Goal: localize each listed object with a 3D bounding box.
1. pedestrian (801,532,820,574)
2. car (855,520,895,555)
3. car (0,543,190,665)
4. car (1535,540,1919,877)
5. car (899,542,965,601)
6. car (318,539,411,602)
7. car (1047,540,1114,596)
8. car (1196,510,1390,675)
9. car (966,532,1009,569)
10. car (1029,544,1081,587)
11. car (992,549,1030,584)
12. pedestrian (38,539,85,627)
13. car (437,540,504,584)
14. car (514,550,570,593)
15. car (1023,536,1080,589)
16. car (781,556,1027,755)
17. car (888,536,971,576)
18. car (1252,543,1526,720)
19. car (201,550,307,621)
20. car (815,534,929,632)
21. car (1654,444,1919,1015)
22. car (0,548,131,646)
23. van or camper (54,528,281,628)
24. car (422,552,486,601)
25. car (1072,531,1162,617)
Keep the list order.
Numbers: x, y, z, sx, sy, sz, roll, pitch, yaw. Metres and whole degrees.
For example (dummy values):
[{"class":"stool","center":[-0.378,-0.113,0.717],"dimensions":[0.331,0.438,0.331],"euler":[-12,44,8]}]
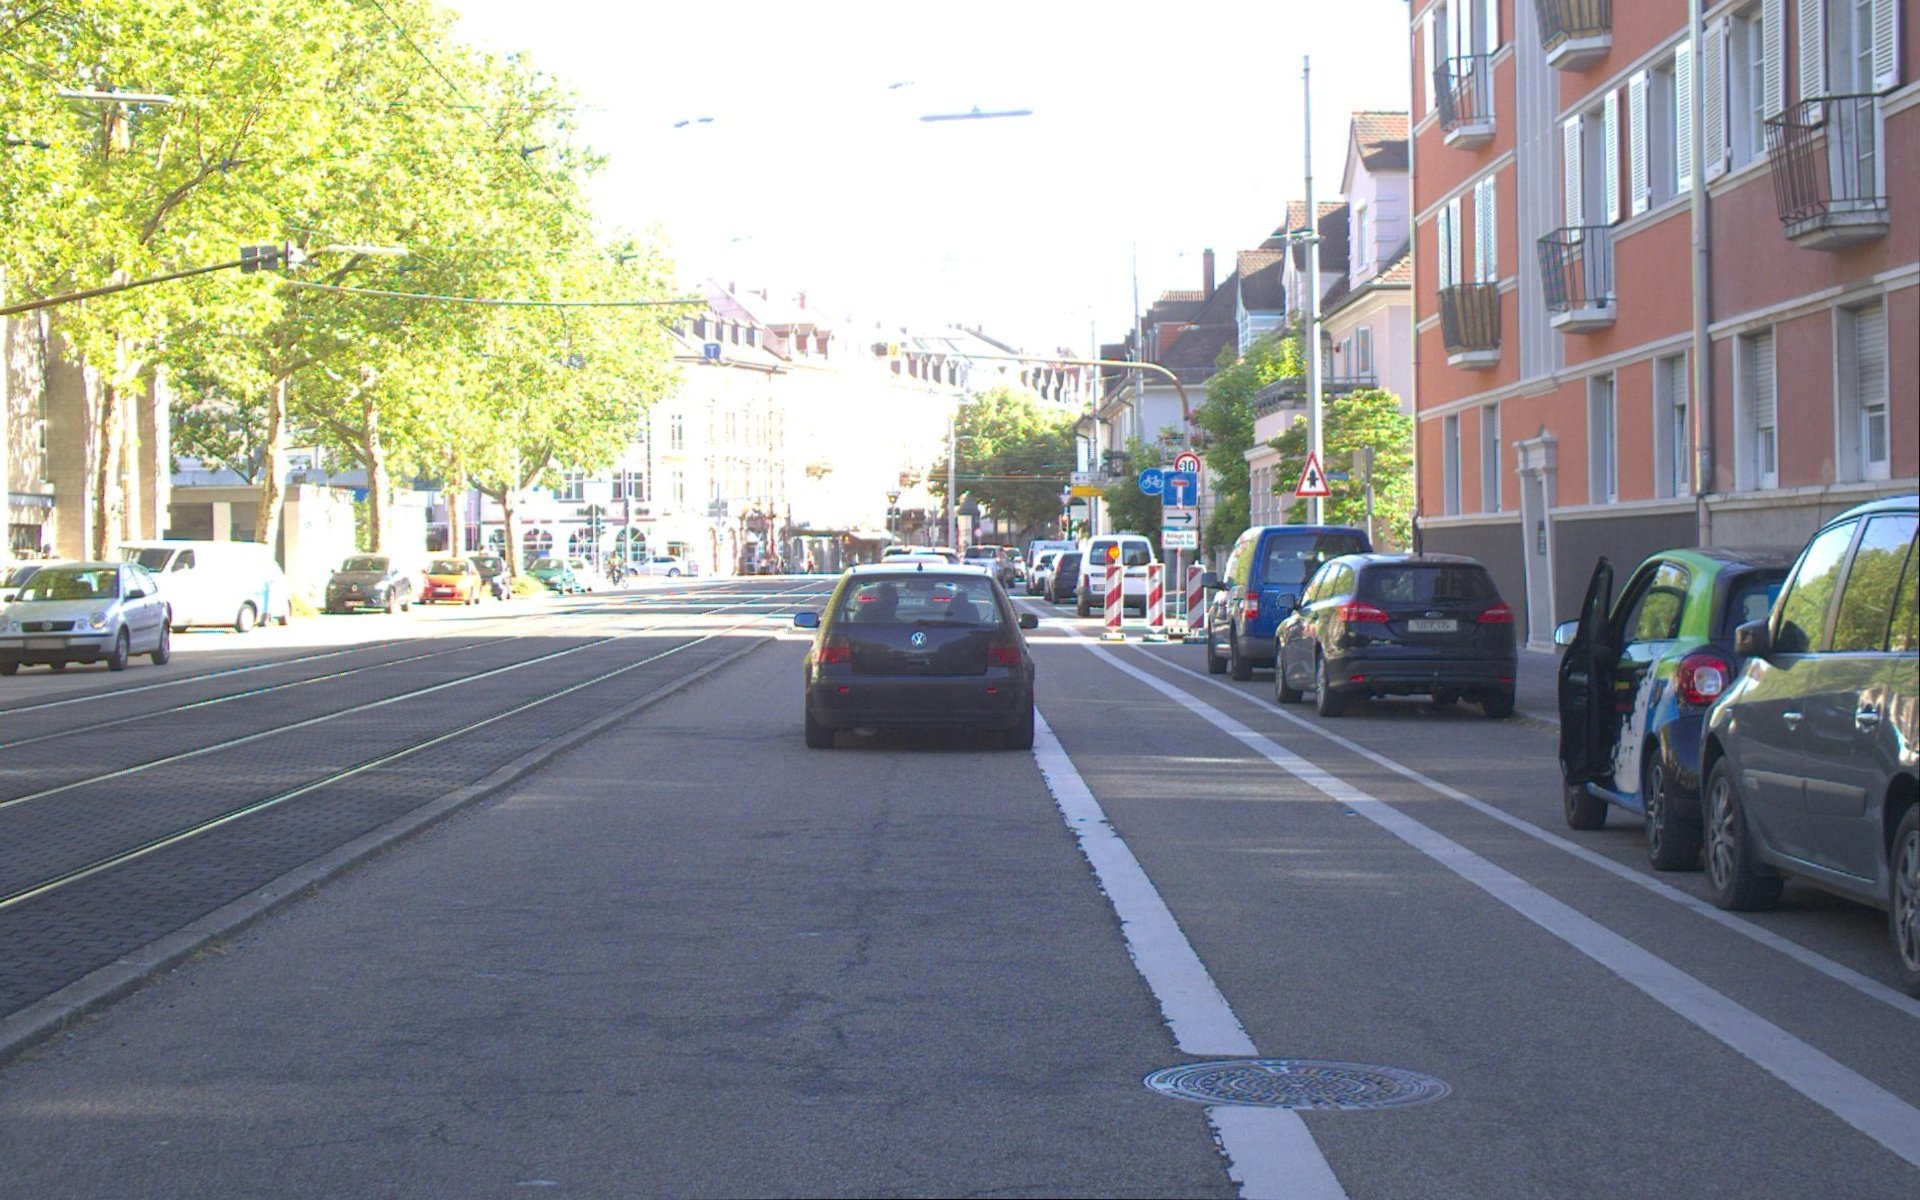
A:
[{"class":"pedestrian","center":[-9.561,-2.996,220.325],"dimensions":[1.096,2.650,0.959],"euler":[1,1,1]},{"class":"car","center":[-3.892,-2.859,157.987],"dimensions":[1.636,1.467,3.729],"euler":[-4,1,0]},{"class":"car","center":[-11.790,0.029,46.236],"dimensions":[1.753,1.513,4.071],"euler":[-2,1,2]},{"class":"car","center":[4.050,0.466,17.515],"dimensions":[1.631,1.506,3.717],"euler":[1,1,1]},{"class":"car","center":[-0.717,-0.748,88.167],"dimensions":[1.636,1.467,3.729],"euler":[-1,1,0]},{"class":"car","center":[-16.391,-0.831,94.803],"dimensions":[1.888,1.660,4.000],"euler":[-1,1,0]},{"class":"car","center":[3.348,-0.920,96.031],"dimensions":[1.661,1.520,4.036],"euler":[-1,1,0]},{"class":"car","center":[3.903,-0.128,40.873],"dimensions":[1.702,1.804,4.272],"euler":[-2,1,-2]},{"class":"car","center":[1.078,-1.971,136.480],"dimensions":[1.636,1.467,3.729],"euler":[-1,1,0]},{"class":"car","center":[3.133,-1.155,113.815],"dimensions":[1.580,1.370,4.000],"euler":[-1,1,0]},{"class":"car","center":[2.369,-1.582,160.295],"dimensions":[1.668,1.592,3.650],"euler":[0,1,0]},{"class":"pedestrian","center":[-18.748,-0.357,71.747],"dimensions":[0.796,1.814,0.670],"euler":[1,1,0]},{"class":"car","center":[-17.177,-1.342,120.720],"dimensions":[1.792,1.460,3.836],"euler":[2,1,0]},{"class":"car","center":[-17.042,-1.179,140.368],"dimensions":[1.883,1.663,3.805],"euler":[1,1,-1]},{"class":"car","center":[3.134,-1.304,118.646],"dimensions":[1.817,1.793,4.000],"euler":[-1,1,0]},{"class":"car","center":[-0.464,0.375,26.720],"dimensions":[1.748,1.370,4.001],"euler":[-1,1,-2]},{"class":"car","center":[-1.607,-2.295,180.813],"dimensions":[3.986,2.007,2.001],"euler":[1,1,-11]},{"class":"car","center":[3.958,0.238,32.473],"dimensions":[1.753,1.506,4.763],"euler":[1,1,-3]},{"class":"car","center":[-15.989,-0.351,78.023],"dimensions":[1.574,1.502,4.090],"euler":[1,1,0]},{"class":"car","center":[-1.421,-0.309,56.659],"dimensions":[1.748,1.532,3.892],"euler":[-1,1,0]},{"class":"car","center":[3.978,0.389,12.867],"dimensions":[1.753,1.849,4.816],"euler":[0,1,0]},{"class":"car","center":[-16.039,-0.083,60.210],"dimensions":[2.011,1.567,4.694],"euler":[1,1,-2]},{"class":"van or camper","center":[-16.195,-0.482,70.557],"dimensions":[2.062,1.943,5.184],"euler":[2,1,20]},{"class":"car","center":[-16.381,-0.747,111.363],"dimensions":[1.570,1.528,3.572],"euler":[-1,0,0]},{"class":"car","center":[3.465,-0.597,76.273],"dimensions":[1.759,1.831,3.548],"euler":[1,1,0]}]
